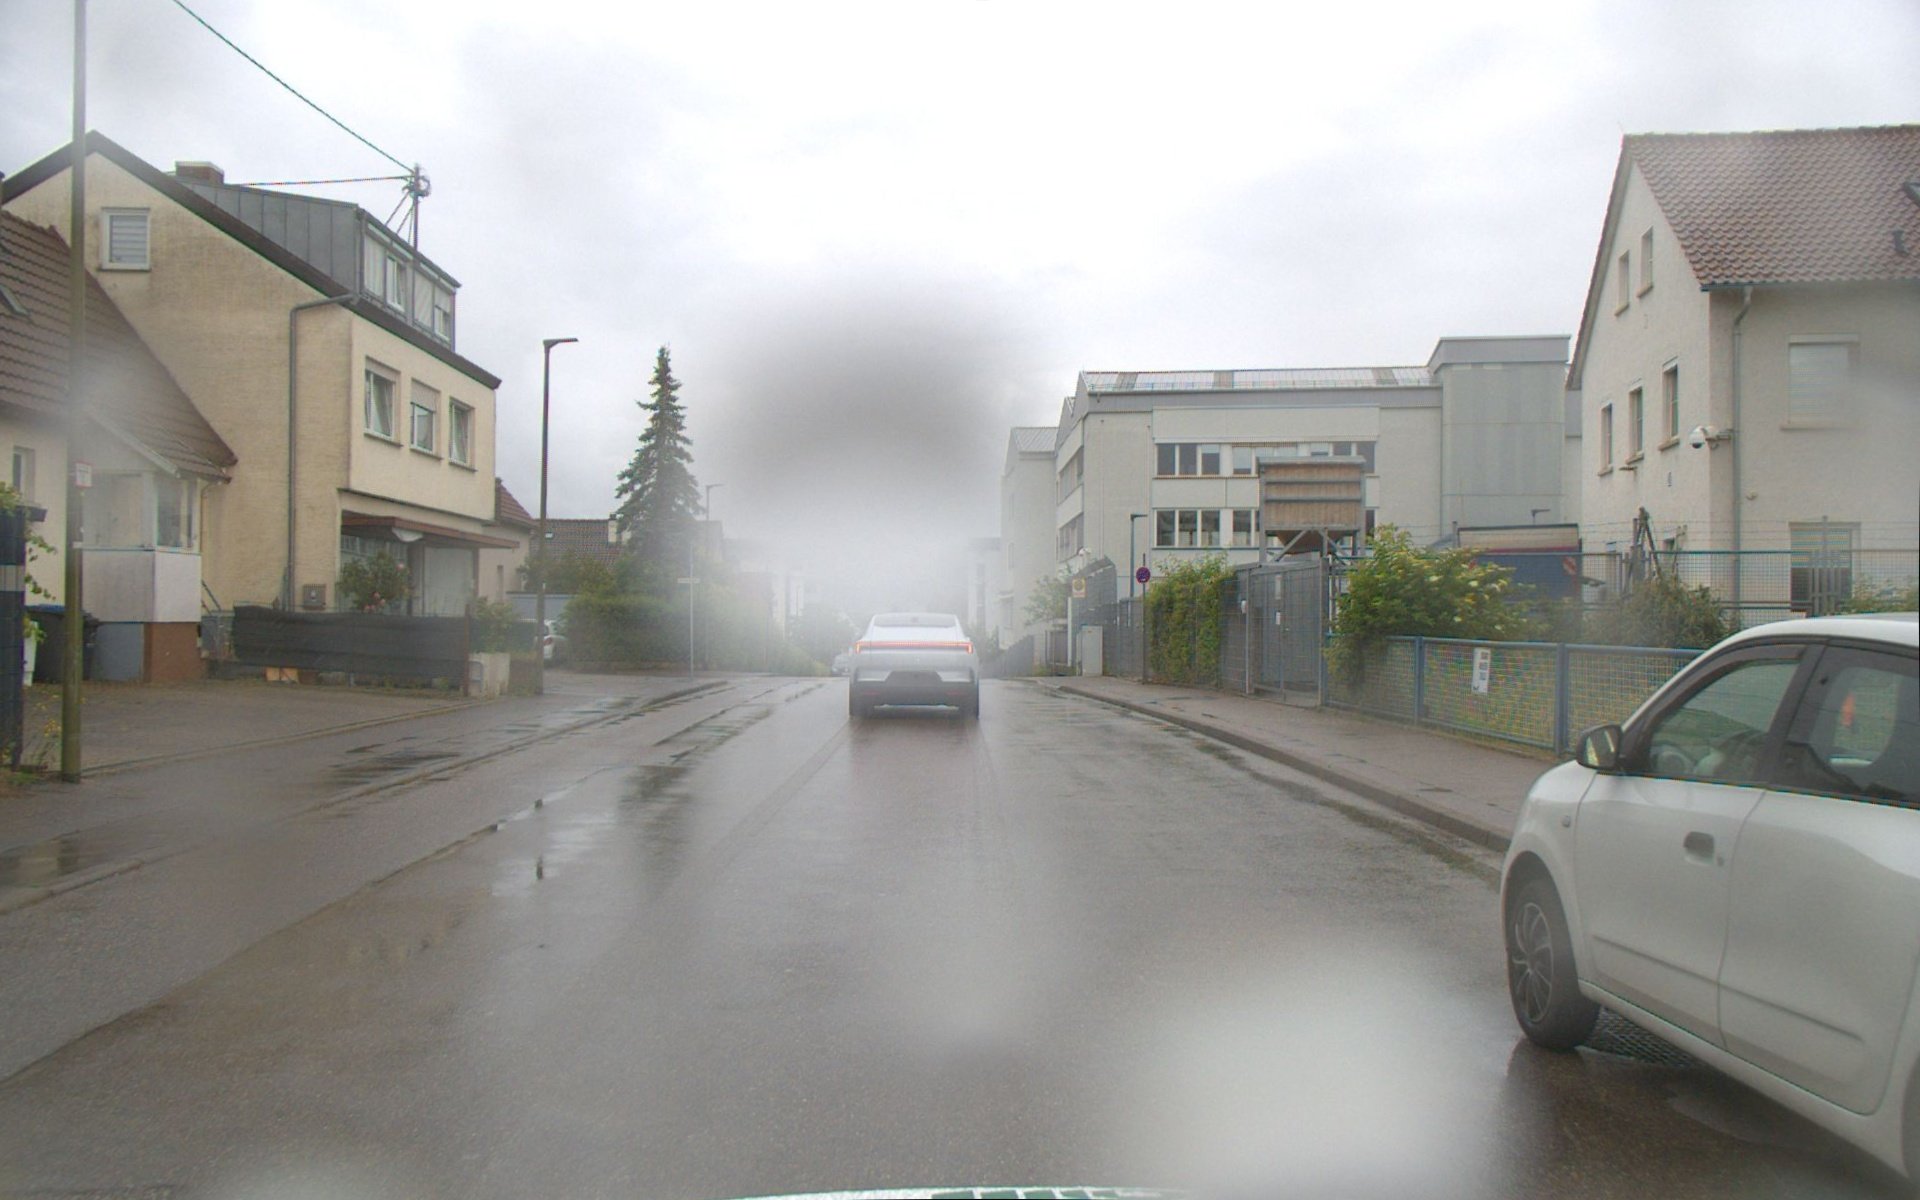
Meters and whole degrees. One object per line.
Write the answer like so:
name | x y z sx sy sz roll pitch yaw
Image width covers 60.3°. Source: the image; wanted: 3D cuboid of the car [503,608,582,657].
car | -14.011 1.073 55.711 1.758 1.534 3.999 0 0 -2

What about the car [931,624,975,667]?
car | -0.389 2.390 85.926 1.955 2.049 3.995 -1 -3 -5

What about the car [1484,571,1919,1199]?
car | 2.994 0.739 4.775 1.648 1.584 3.673 1 0 -2

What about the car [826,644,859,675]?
car | -6.196 3.124 87.454 1.642 1.555 3.997 0 -1 -3

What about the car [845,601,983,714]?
car | -0.725 0.826 25.937 1.953 1.528 4.668 1 1 -2
